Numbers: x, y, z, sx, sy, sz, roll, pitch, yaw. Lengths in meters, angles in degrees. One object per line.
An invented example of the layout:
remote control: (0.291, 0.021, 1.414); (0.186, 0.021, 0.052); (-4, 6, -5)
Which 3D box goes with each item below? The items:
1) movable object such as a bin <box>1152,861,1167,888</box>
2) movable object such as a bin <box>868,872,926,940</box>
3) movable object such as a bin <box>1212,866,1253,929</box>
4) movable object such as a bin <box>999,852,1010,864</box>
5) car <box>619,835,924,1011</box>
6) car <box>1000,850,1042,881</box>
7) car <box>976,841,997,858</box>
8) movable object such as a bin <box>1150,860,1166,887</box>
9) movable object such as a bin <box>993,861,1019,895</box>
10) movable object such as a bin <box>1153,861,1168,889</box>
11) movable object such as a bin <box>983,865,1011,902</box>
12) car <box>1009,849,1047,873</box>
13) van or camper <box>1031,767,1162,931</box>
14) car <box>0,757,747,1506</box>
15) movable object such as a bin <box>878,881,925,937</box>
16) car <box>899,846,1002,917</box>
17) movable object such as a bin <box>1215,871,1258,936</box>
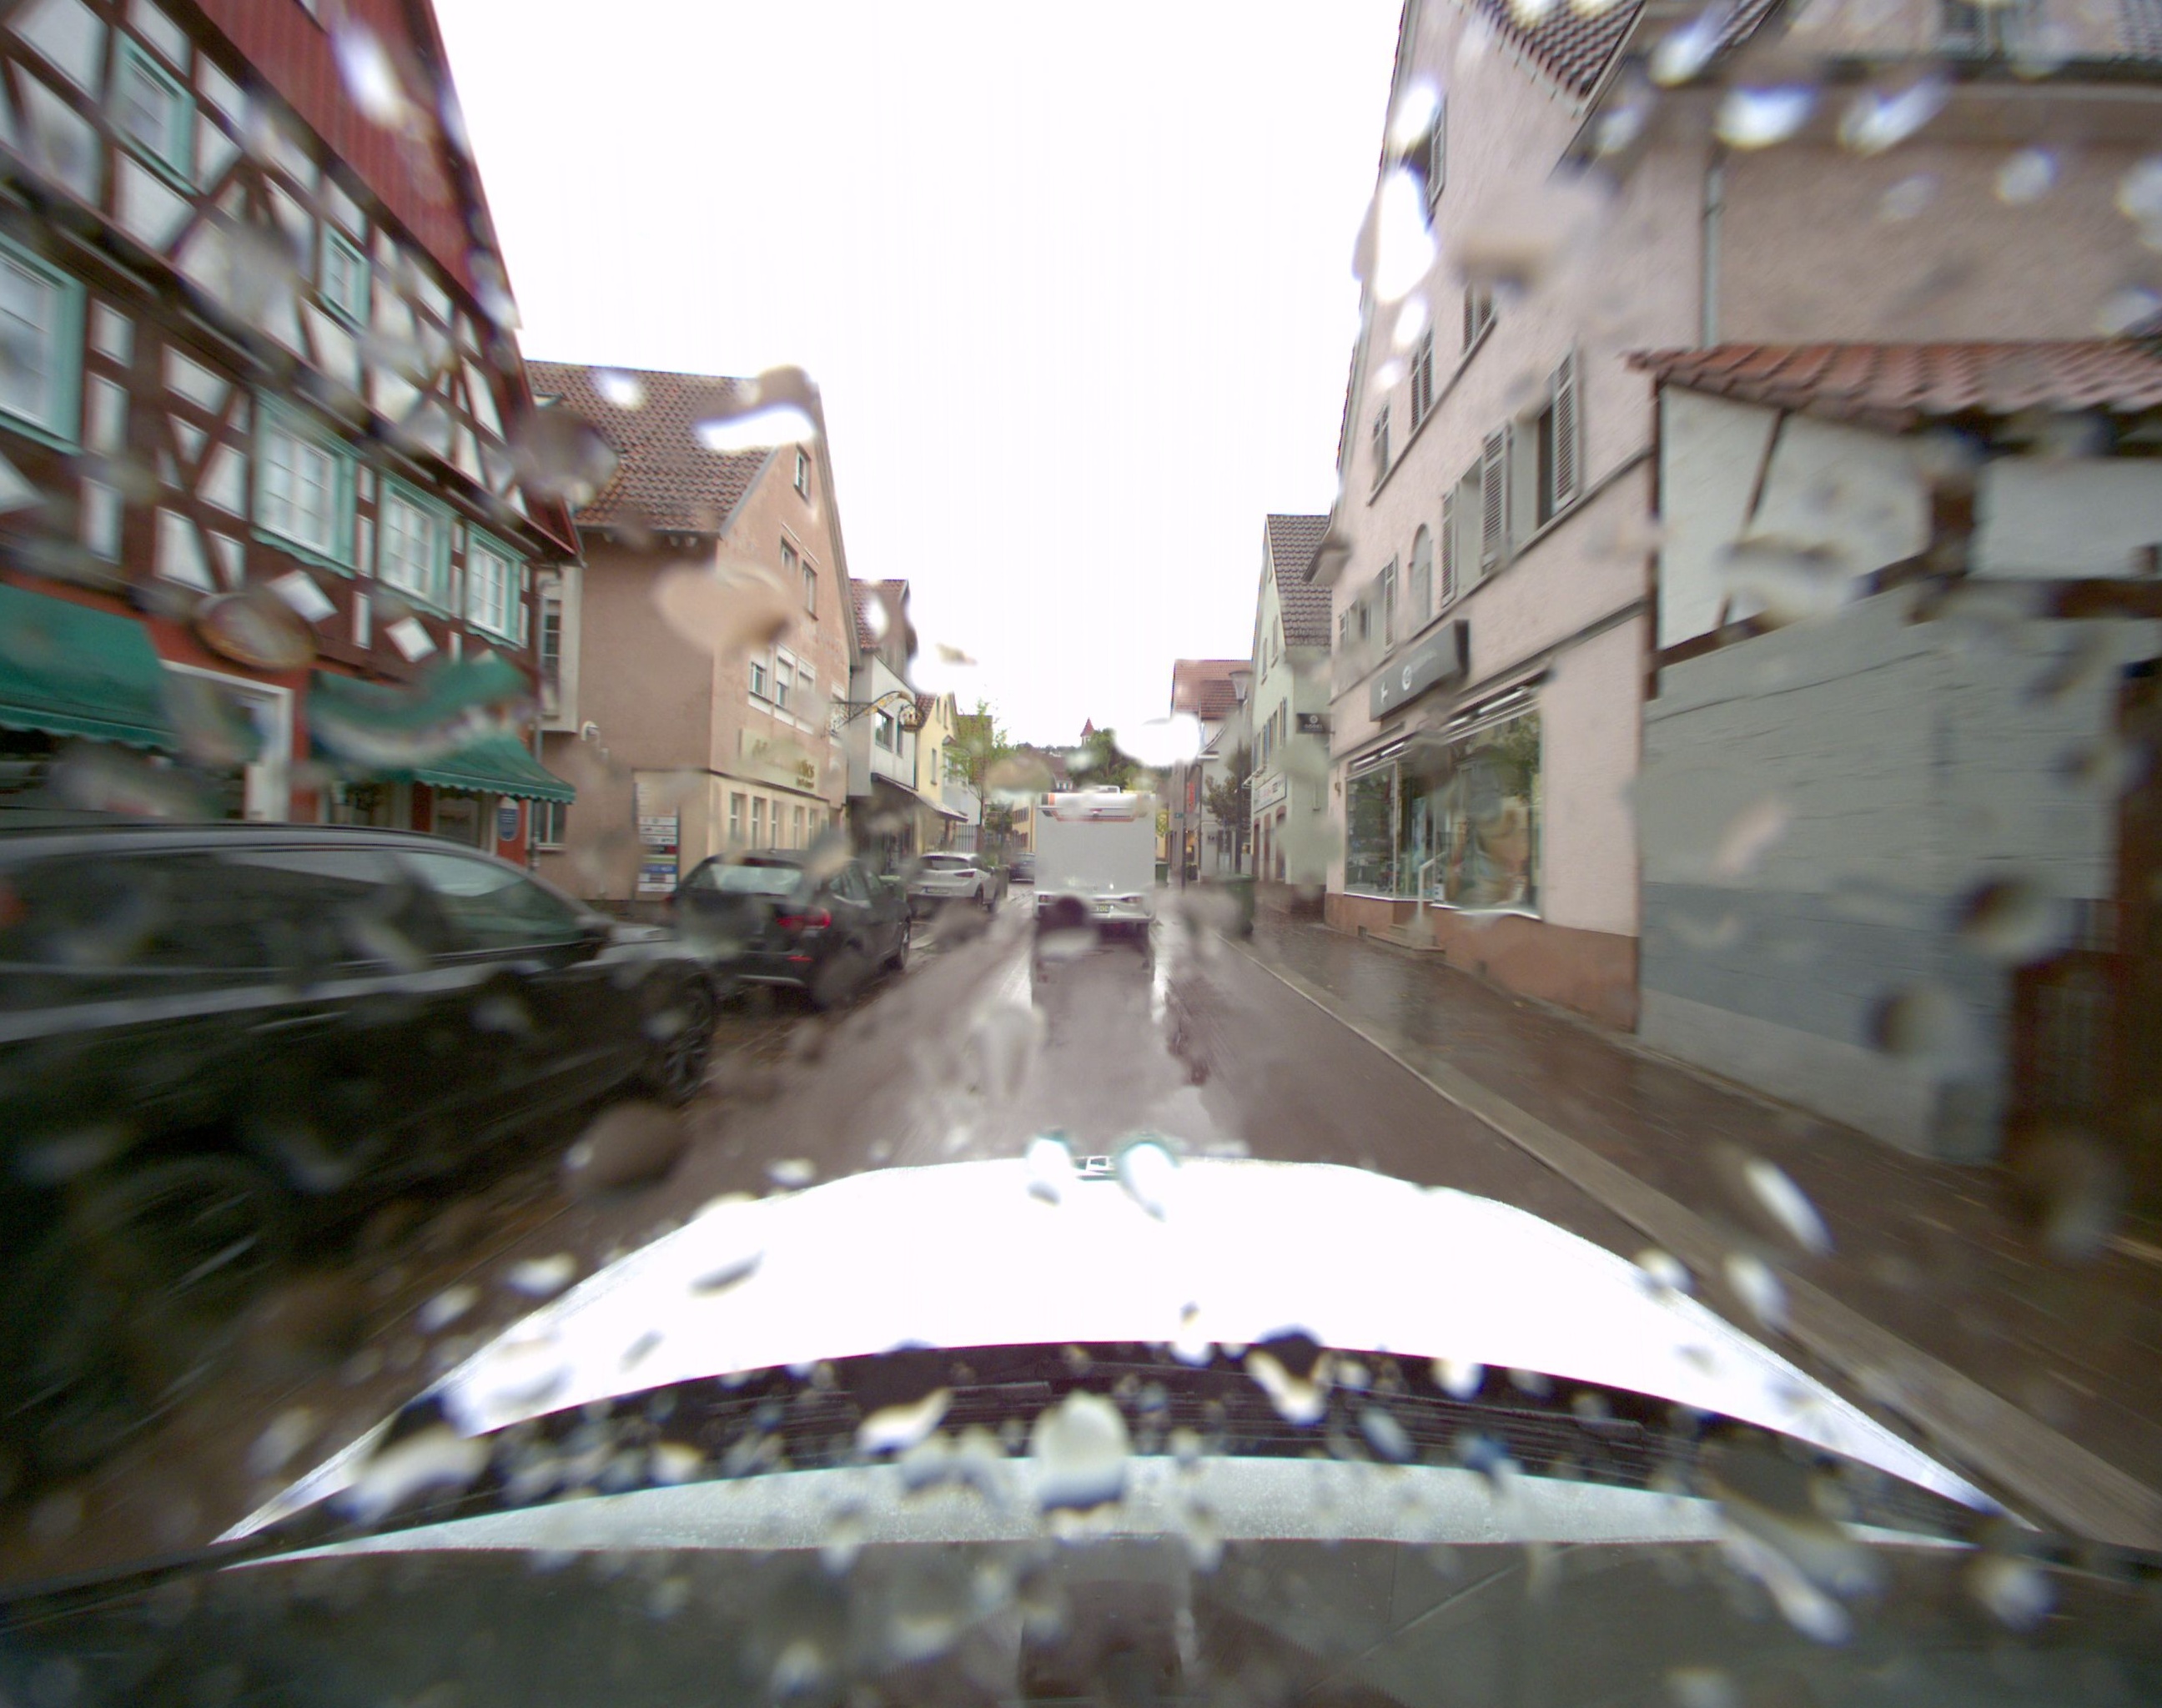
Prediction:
movable object such as a bin: (3.630, 0.957, 37.742); (0.656, 1.245, 0.542); (1, -1, 0)
movable object such as a bin: (-3.056, 0.852, 13.578); (0.744, 1.082, 0.764); (0, -1, 3)
movable object such as a bin: (2.973, 0.850, 15.999); (0.715, 1.201, 0.579); (0, -1, 3)
movable object such as a bin: (-6.760, 0.348, 72.152); (0.819, 1.051, 0.696); (1, -1, -15)
car: (-3.180, 0.652, 9.430); (1.827, 1.552, 4.281); (1, -1, 0)
car: (-3.092, 0.552, 41.929); (1.990, 1.472, 3.994); (2, 0, -4)
car: (-12.090, -0.533, 103.843); (1.998, 2.014, 3.977); (1, -1, -17)
movable object such as a bin: (3.617, 0.911, 38.298); (0.676, 1.256, 0.542); (1, -1, 0)
movable object such as a bin: (-2.546, 0.825, 27.747); (0.813, 1.106, 0.609); (4, -1, -4)
movable object such as a bin: (3.631, 0.951, 37.156); (0.656, 1.238, 0.621); (1, -1, 0)
movable object such as a bin: (-2.572, 0.890, 24.981); (0.813, 1.106, 0.609); (1, -1, -4)
car: (-3.776, 0.480, 57.212); (1.995, 1.494, 3.983); (2, 0, -13)
van or camper: (0.209, -0.039, 17.826); (2.319, 2.919, 6.388); (1, -1, -1)
car: (-3.311, 0.640, 3.477); (1.827, 1.675, 4.540); (1, -1, 0)
movable object such as a bin: (-3.152, 0.955, 14.309); (0.653, 0.955, 0.562); (0, -1, 3)
car: (-3.102, 0.651, 20.159); (1.821, 1.566, 4.000); (1, -1, 1)
movable object such as a bin: (2.941, 0.927, 15.421); (0.715, 1.201, 0.573); (0, -1, 3)
